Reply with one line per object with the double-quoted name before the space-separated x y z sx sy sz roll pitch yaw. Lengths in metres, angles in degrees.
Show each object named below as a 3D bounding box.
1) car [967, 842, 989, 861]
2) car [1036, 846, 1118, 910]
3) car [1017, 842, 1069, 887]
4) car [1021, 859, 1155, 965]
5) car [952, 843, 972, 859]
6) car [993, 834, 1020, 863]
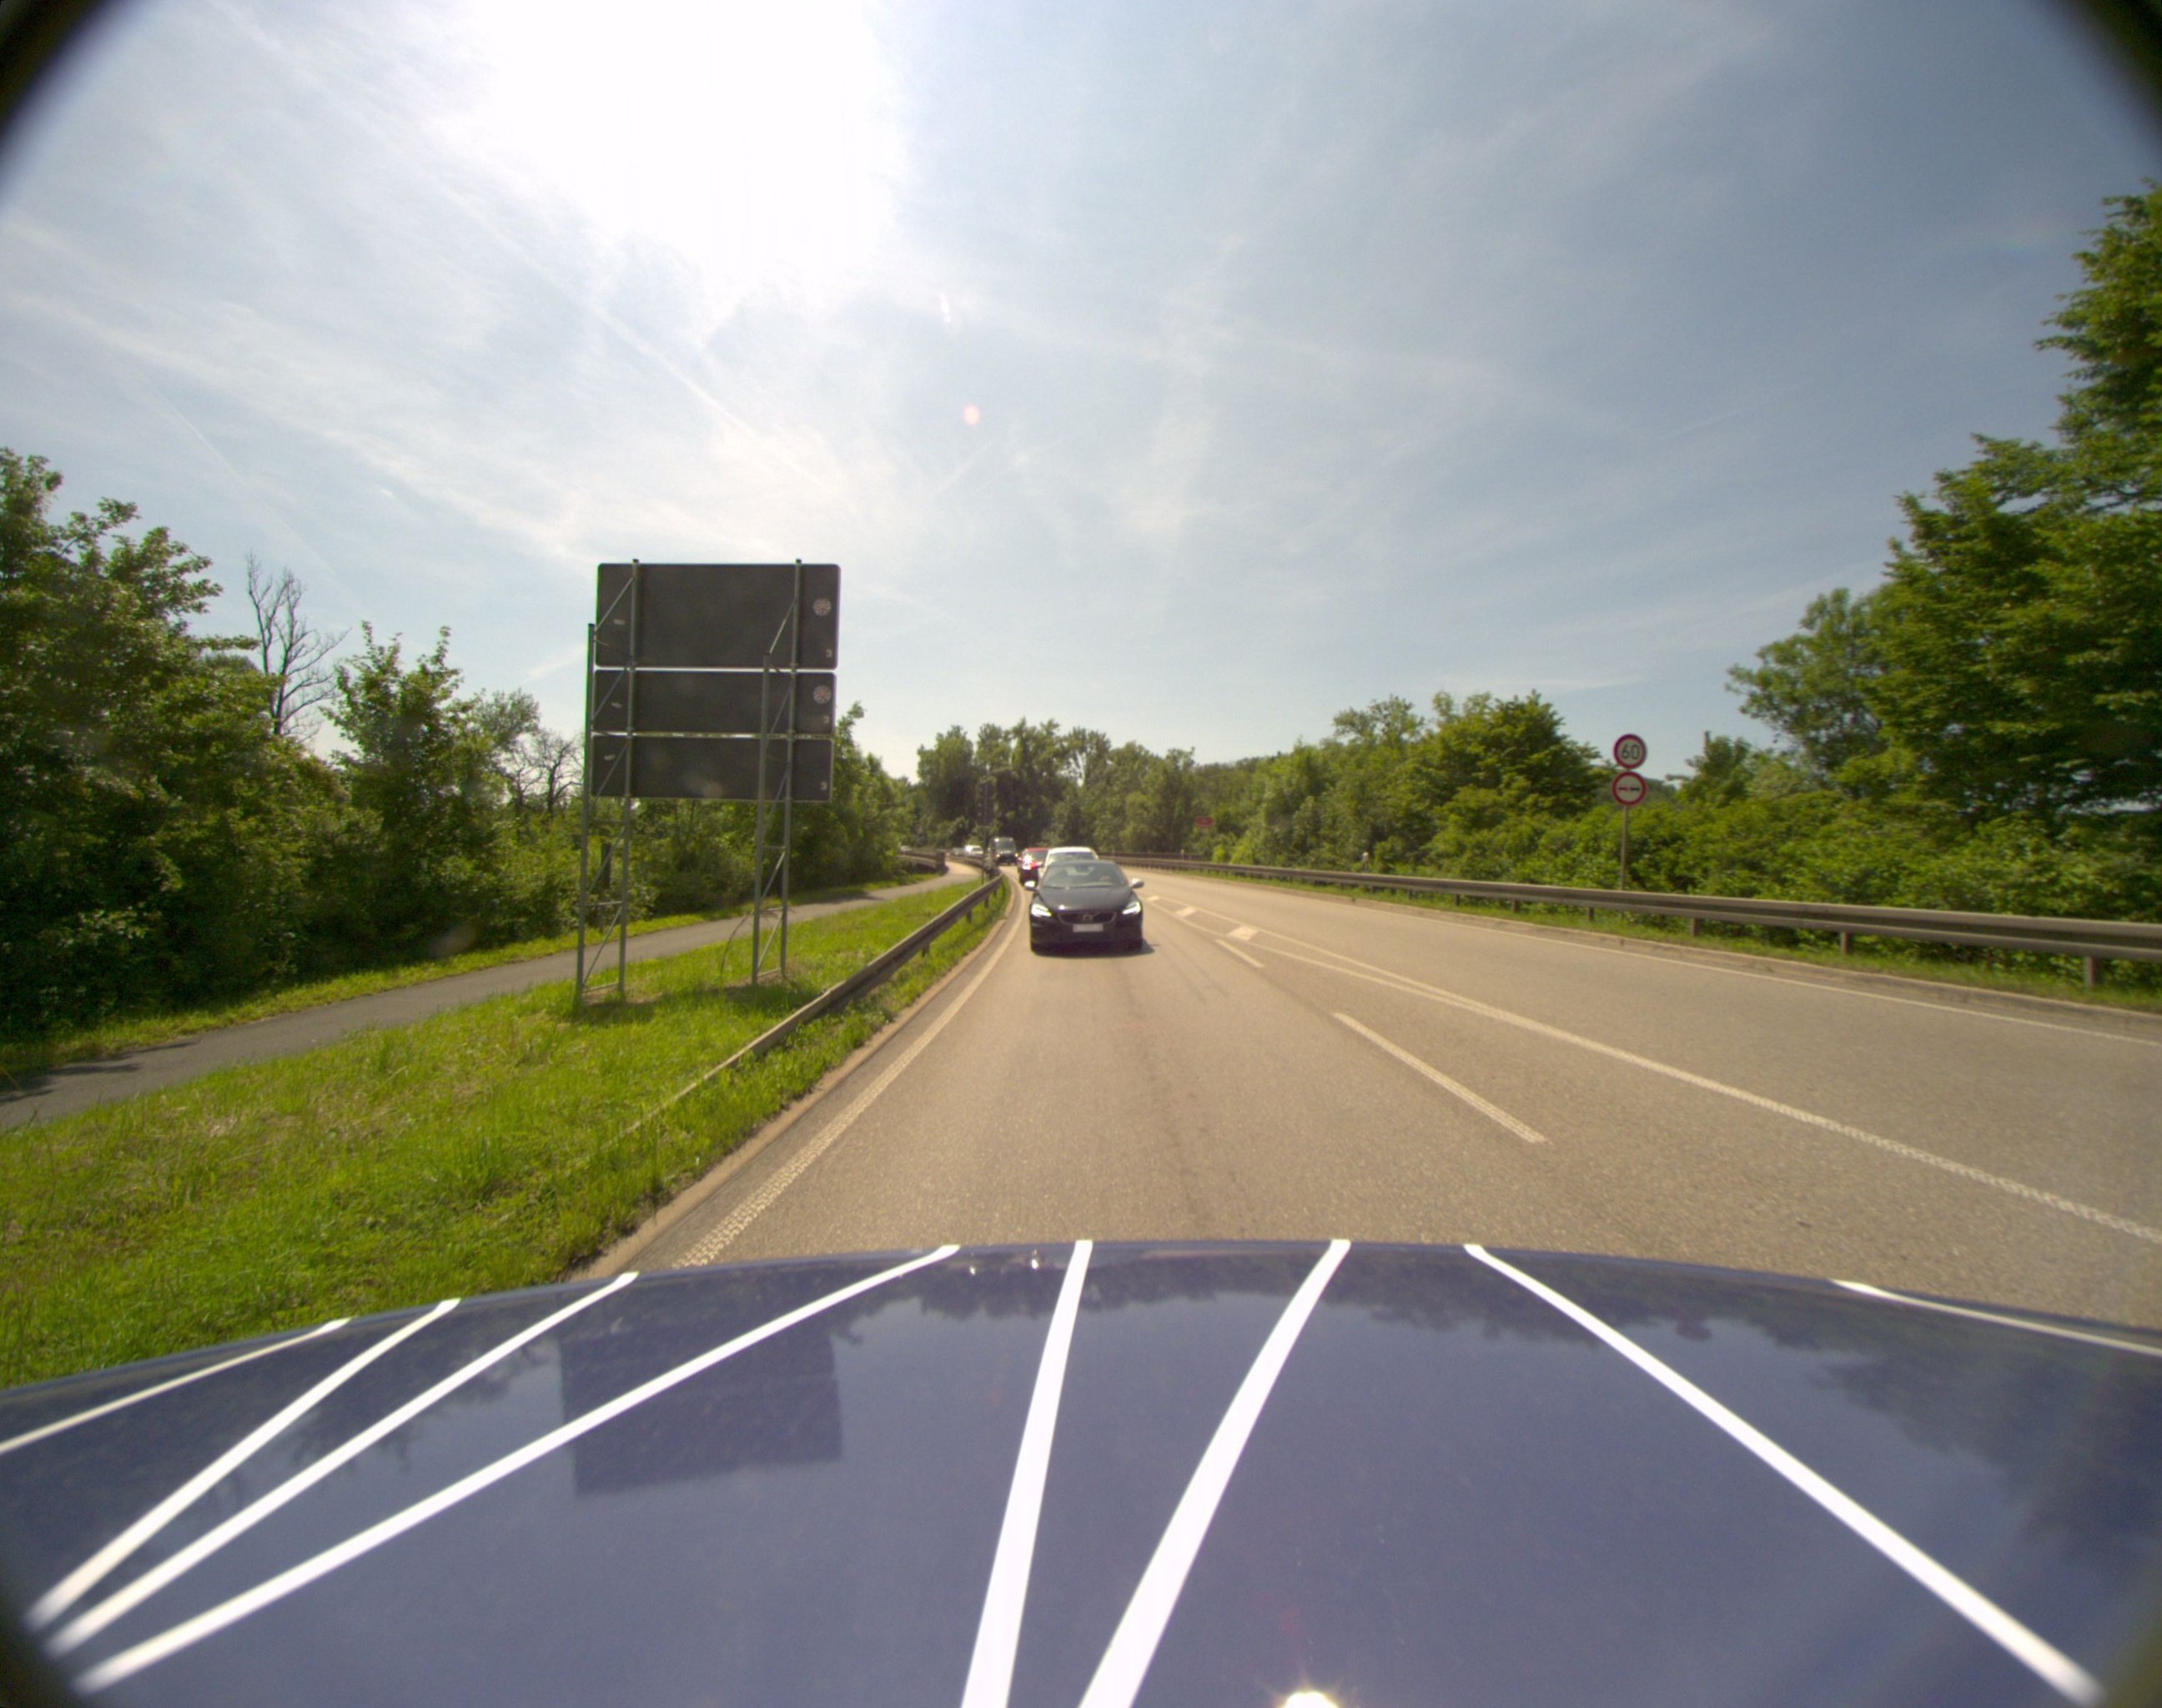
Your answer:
"car" -11.793 -0.293 86.397 2.001 2.003 4.706 -2 2 -13
"car" -0.212 0.618 21.892 1.910 1.638 3.948 -2 1 -6
"car" -1.774 0.396 34.265 2.000 1.766 3.996 -2 2 -6
"car" 0.026 0.854 13.052 1.909 1.413 3.949 -2 1 -2
"car" -15.571 -0.417 99.492 2.001 2.003 3.993 -3 2 -16
"car" -6.857 -0.531 69.607 2.000 2.471 4.853 -2 2 -11
